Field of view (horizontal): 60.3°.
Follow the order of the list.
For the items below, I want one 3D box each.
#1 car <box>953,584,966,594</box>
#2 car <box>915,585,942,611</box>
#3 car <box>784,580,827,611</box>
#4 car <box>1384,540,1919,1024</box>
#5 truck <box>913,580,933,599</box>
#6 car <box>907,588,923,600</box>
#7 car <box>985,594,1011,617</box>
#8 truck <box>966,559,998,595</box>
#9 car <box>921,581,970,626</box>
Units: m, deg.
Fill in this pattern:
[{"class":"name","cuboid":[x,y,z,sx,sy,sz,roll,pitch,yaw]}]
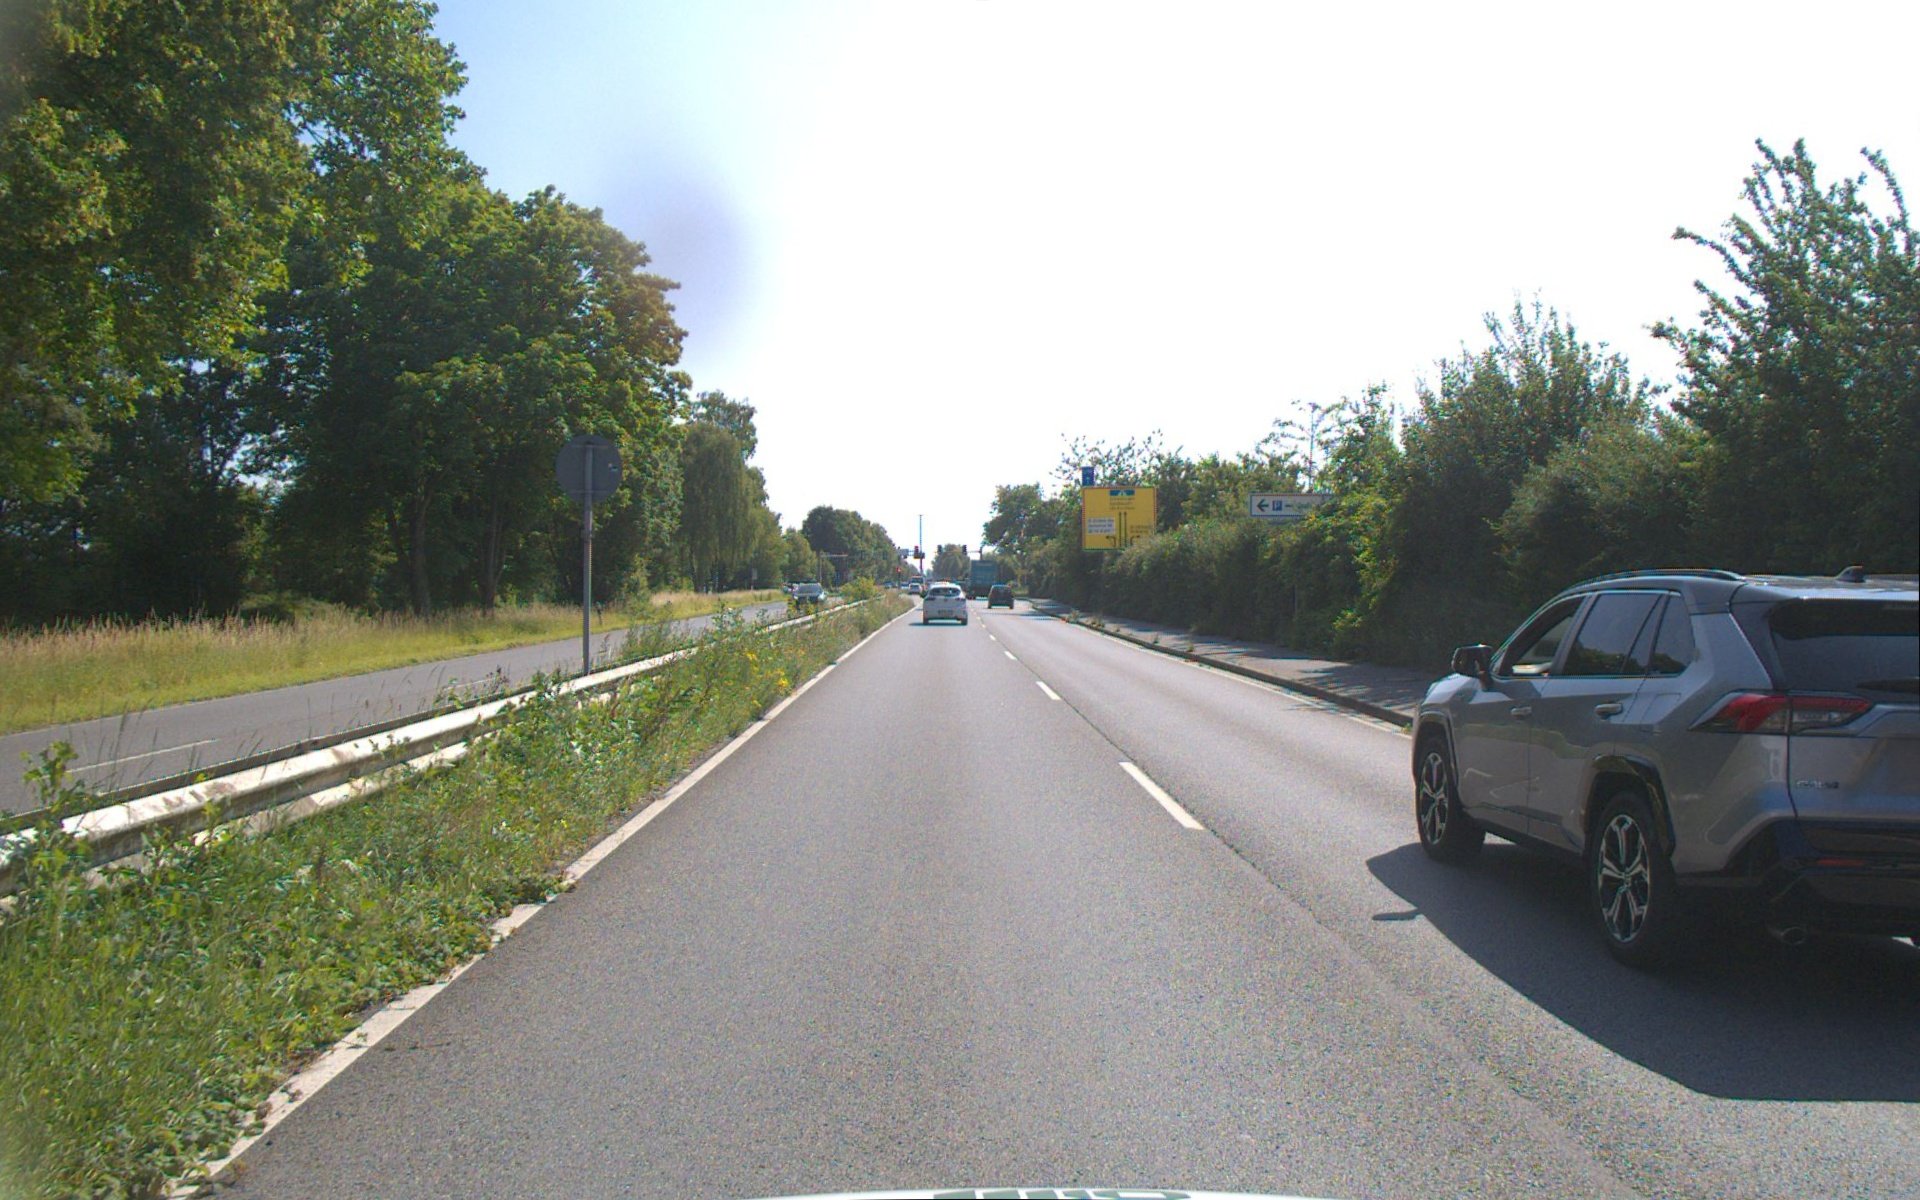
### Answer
[{"class":"car","cuboid":[-0.033,-1.667,249.981,1.775,1.490,4.460,-1,0,1]},{"class":"car","cuboid":[-1.829,-0.130,95.554,1.540,1.439,3.277,0,0,-1]},{"class":"car","cuboid":[-8.107,-0.243,87.310,1.742,1.557,4.162,-1,0,1]},{"class":"car","cuboid":[3.699,0.647,8.251,1.863,1.709,4.682,1,0,-1]},{"class":"truck","cuboid":[-4.939,-1.429,222.671,2.324,2.430,6.043,0,2,2]},{"class":"car","cuboid":[-5.870,-0.784,215.564,1.775,1.490,4.972,-1,0,2]},{"class":"car","cuboid":[2.354,0.340,103.033,1.540,1.439,3.277,1,0,-1]},{"class":"truck","cuboid":[2.134,-2.272,163.459,2.833,3.488,9.168,0,1,-1]},{"class":"car","cuboid":[-0.520,0.112,61.976,1.762,1.580,4.000,1,1,0]}]
